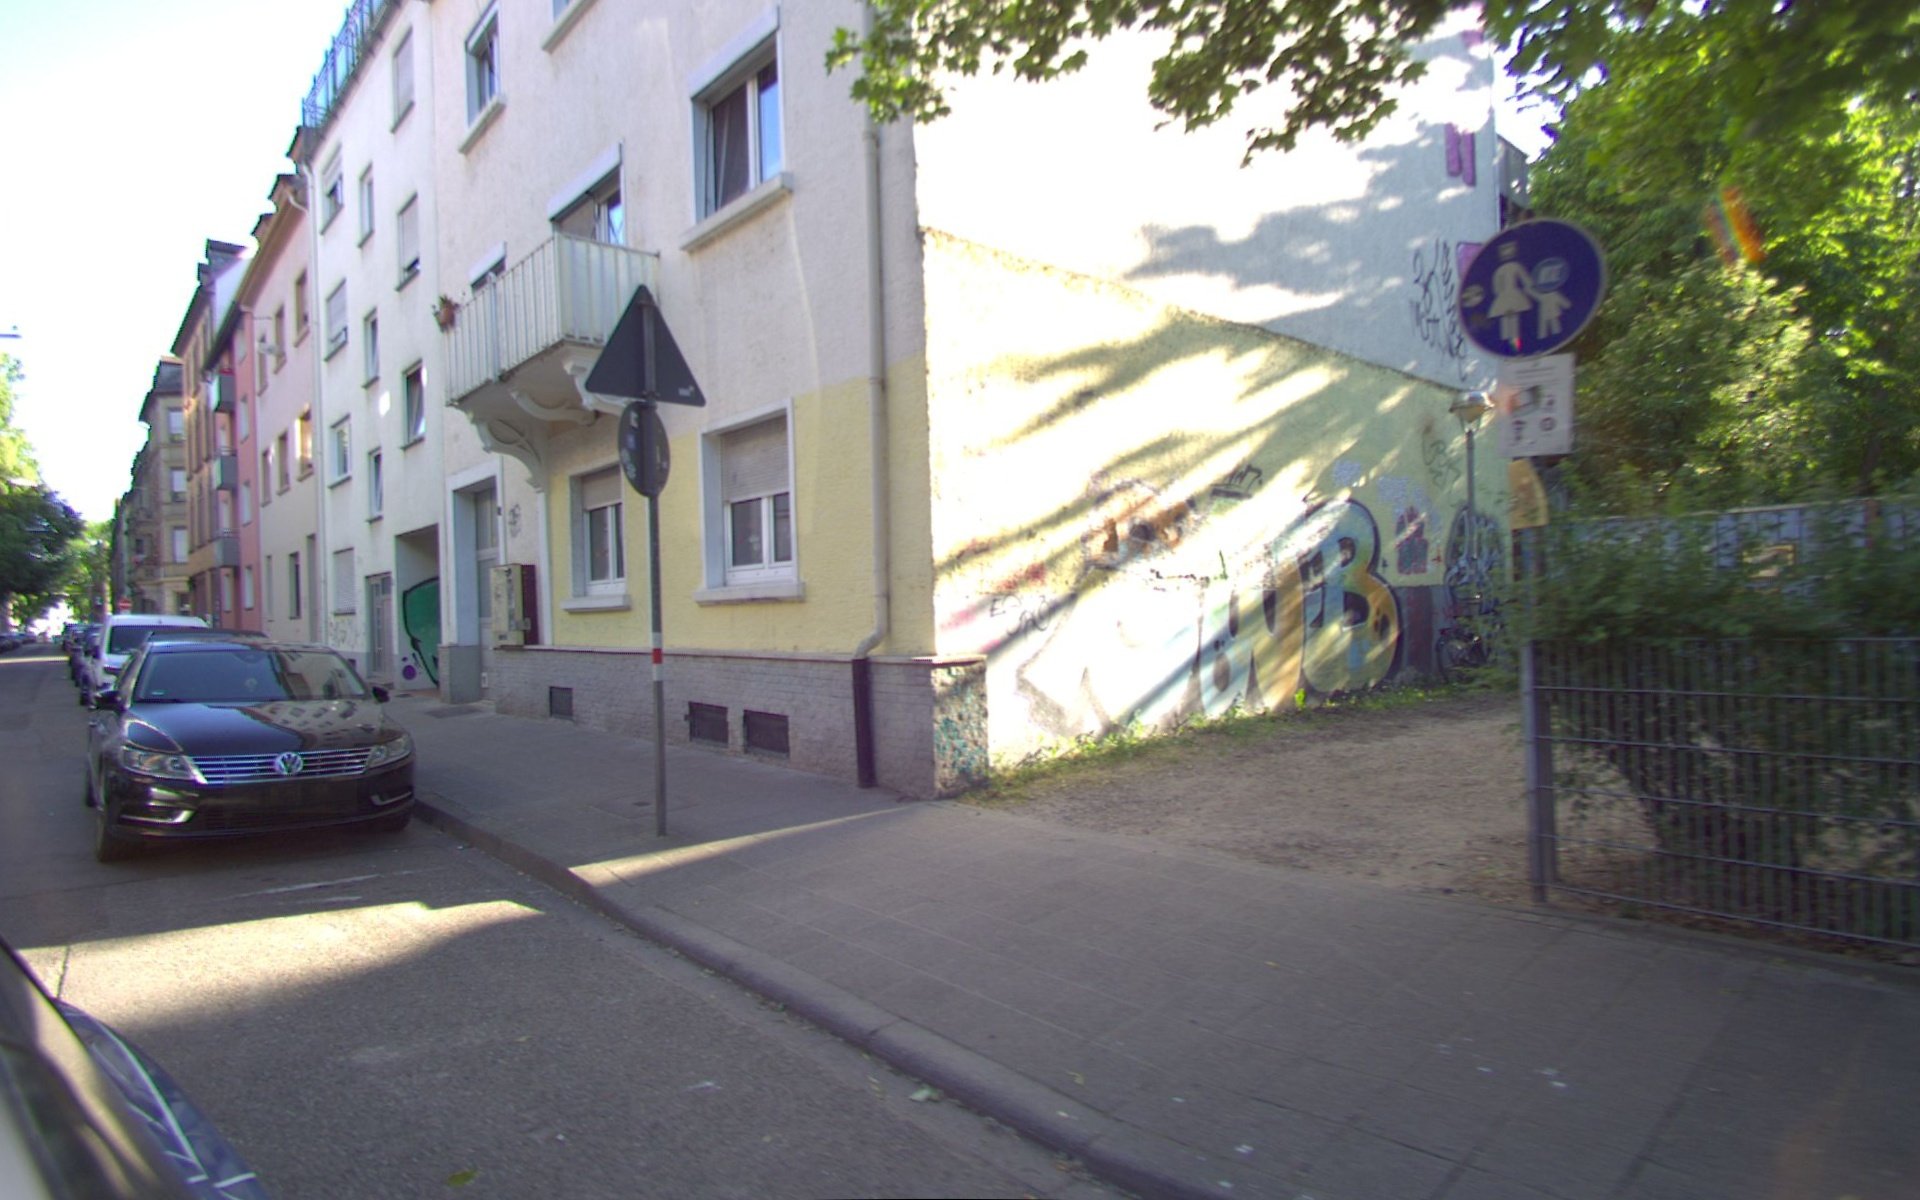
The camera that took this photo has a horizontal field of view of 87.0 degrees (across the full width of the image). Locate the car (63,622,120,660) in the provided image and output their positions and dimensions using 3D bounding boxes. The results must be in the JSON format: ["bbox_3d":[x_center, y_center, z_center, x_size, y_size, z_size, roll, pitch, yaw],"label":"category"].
[{"bbox_3d":[-37.533,1.767,43.705,1.742,1.545,4.108,3,-3,-42],"label":"car"}]

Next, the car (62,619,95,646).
[{"bbox_3d":[-66.108,2.415,75.886,1.742,1.940,4.269,3,-3,-42],"label":"car"}]

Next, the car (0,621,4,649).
[{"bbox_3d":[-72.970,2.593,75.863,1.742,2.033,4.269,3,-3,-42],"label":"car"}]

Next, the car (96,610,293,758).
[{"bbox_3d":[-8.966,0.893,11.868,1.573,1.462,3.492,3,-3,-38],"label":"car"}]

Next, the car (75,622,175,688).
[{"bbox_3d":[-20.609,1.312,24.918,1.651,1.470,4.089,3,-3,-42],"label":"car"}]

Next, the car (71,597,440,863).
[{"bbox_3d":[-5.606,0.788,7.787,1.757,1.454,4.398,3,-3,-42],"label":"car"}]

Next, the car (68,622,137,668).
[{"bbox_3d":[-30.625,1.558,36.104,1.742,1.545,4.108,2,-2,-42],"label":"car"}]

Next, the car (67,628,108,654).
[{"bbox_3d":[-53.017,2.490,61.457,1.742,1.483,3.937,3,-3,-42],"label":"car"}]

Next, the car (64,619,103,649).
[{"bbox_3d":[-56.677,2.208,65.418,1.742,1.871,3.998,3,-3,-42],"label":"car"}]

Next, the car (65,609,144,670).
[{"bbox_3d":[-27.385,1.250,32.354,1.742,1.838,4.108,3,-3,-42],"label":"car"}]

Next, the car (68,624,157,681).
[{"bbox_3d":[-23.794,1.442,28.369,1.742,1.483,3.821,3,-3,-42],"label":"car"}]

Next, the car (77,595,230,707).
[{"bbox_3d":[-14.368,0.867,17.944,1.728,1.754,4.319,3,-3,-43],"label":"car"}]

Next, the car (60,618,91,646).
[{"bbox_3d":[-70.648,2.549,80.828,1.742,2.103,4.269,3,-3,-42],"label":"car"}]

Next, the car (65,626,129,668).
[{"bbox_3d":[-33.668,1.792,39.450,1.742,1.545,4.108,3,-3,-42],"label":"car"}]

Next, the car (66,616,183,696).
[{"bbox_3d":[-17.696,1.154,21.590,1.649,1.539,4.094,3,-3,-36],"label":"car"}]

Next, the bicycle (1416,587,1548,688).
[{"bbox_3d":[6.297,0.413,12.167,1.925,1.117,0.700,-1,0,-40],"label":"bicycle"}]
